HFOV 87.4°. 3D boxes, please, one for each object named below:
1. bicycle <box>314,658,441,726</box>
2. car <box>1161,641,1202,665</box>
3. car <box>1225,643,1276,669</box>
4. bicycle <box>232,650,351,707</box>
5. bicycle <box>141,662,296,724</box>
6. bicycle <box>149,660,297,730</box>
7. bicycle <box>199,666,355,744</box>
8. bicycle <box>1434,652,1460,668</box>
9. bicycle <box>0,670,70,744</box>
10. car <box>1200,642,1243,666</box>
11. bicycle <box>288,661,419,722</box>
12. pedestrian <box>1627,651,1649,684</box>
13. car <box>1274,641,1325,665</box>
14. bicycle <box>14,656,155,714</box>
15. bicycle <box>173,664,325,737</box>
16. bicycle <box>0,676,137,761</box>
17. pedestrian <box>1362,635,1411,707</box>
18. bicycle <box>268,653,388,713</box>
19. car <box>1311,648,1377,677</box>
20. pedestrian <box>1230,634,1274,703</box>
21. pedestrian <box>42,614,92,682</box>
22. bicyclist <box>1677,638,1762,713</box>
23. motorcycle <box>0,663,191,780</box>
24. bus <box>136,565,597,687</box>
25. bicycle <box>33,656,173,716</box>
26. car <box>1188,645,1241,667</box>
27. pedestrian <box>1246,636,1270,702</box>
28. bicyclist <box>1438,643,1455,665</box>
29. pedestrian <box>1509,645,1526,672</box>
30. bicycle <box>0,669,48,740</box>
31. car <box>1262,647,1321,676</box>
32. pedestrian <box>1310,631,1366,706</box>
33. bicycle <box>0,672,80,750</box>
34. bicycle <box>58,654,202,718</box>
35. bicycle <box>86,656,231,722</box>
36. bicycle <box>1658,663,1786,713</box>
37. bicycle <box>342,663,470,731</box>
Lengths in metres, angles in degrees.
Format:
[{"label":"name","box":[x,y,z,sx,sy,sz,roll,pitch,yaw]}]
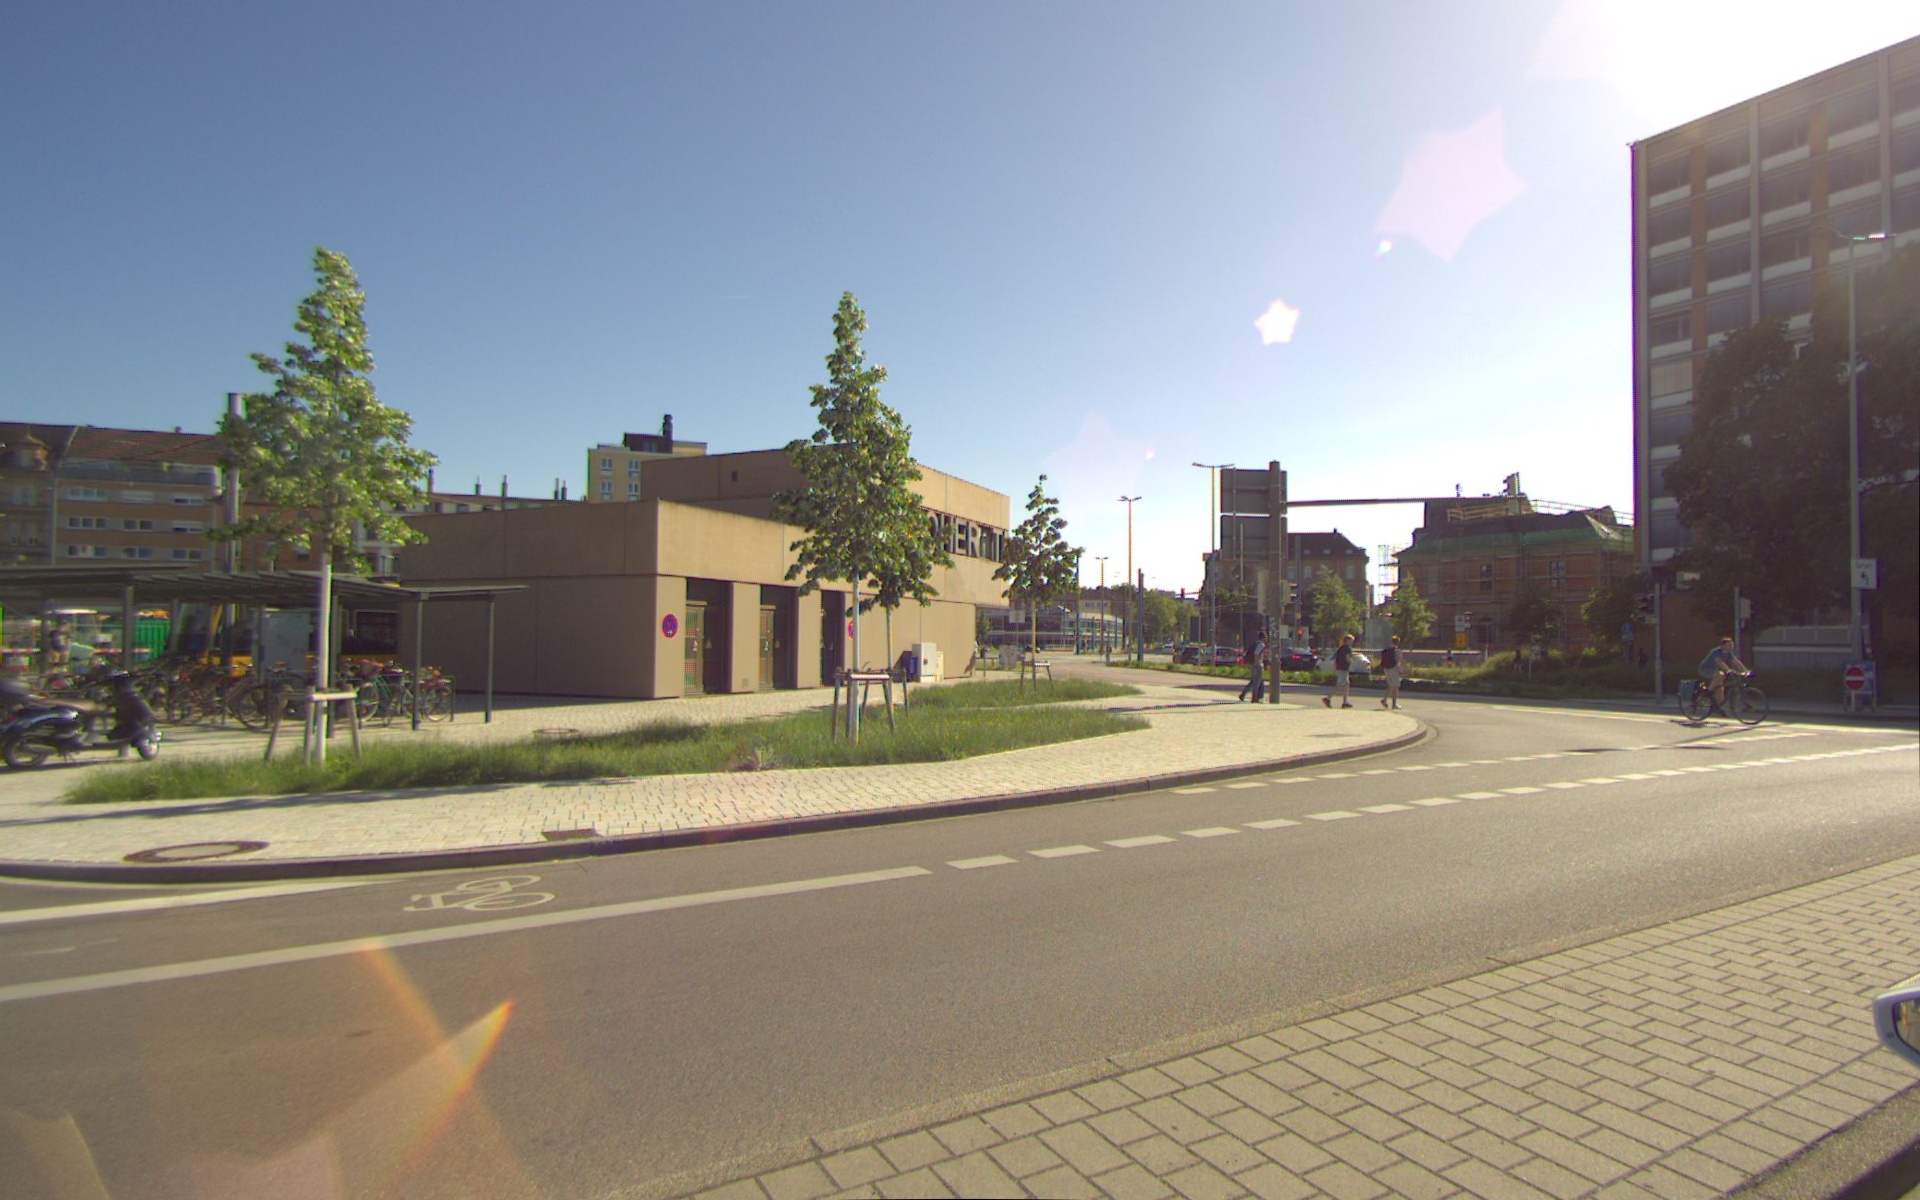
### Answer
[{"label":"bicycle","box":[-10.798,1.682,18.695,0.594,1.093,2.053,2,0,25]},{"label":"car","box":[16.520,3.937,75.121,1.809,1.653,4.386,1,-2,-4]},{"label":"car","box":[20.038,3.838,69.429,1.810,1.653,4.382,1,-2,-8]},{"label":"bicycle","box":[-13.918,1.614,20.989,0.524,1.051,2.070,2,0,26]},{"label":"bicycle","box":[-13.592,1.681,18.512,0.673,0.956,2.233,2,0,25]},{"label":"bicycle","box":[-12.899,1.629,17.653,0.524,1.051,2.070,2,0,26]},{"label":"bicycle","box":[-10.904,1.649,16.130,0.524,1.051,2.070,2,0,26]},{"label":"bicycle","box":[32.238,3.960,66.550,0.587,0.976,2.082,1,-2,-5]},{"label":"bicycle","box":[-13.697,1.530,14.170,0.399,0.985,1.683,2,0,22]},{"label":"car","box":[19.617,4.033,75.502,1.809,1.653,4.386,1,-2,-4]},{"label":"bicycle","box":[-11.763,1.747,19.568,0.679,1.011,2.140,2,0,26]},{"label":"pedestrian","box":[34.544,3.434,51.157,0.587,1.624,0.739,1,-2,-7]},{"label":"car","box":[25.606,3.990,75.856,1.809,1.653,4.836,1,-2,-6]},{"label":"bicycle","box":[-17.773,1.696,20.453,0.524,1.051,2.070,5,0,26]},{"label":"bicycle","box":[-11.926,1.655,16.937,0.524,1.051,2.070,2,0,26]},{"label":"bicycle","box":[-12.203,1.573,13.574,0.399,0.985,1.683,2,0,22]},{"label":"pedestrian","box":[10.381,1.737,24.470,0.776,1.711,0.793,2,-5,-14]},{"label":"bicycle","box":[-12.743,1.646,20.324,0.524,1.051,2.070,2,0,26]},{"label":"car","box":[21.332,3.445,55.950,1.711,1.454,3.843,1,-2,-10]},{"label":"pedestrian","box":[7.399,1.730,25.453,0.889,1.711,0.839,-1,-5,30]},{"label":"pedestrian","box":[-26.106,1.387,29.376,0.755,1.942,0.803,0,-2,23]},{"label":"bicyclist","box":[15.011,1.487,19.875,0.676,1.440,1.124,1,-4,-18]},{"label":"motorcycle","box":[-10.850,1.446,12.473,0.558,1.235,2.087,0,-1,21]},{"label":"bus","box":[-17.914,0.912,32.483,2.810,3.112,13.620,0,-2,25]},{"label":"bicycle","box":[-16.884,1.676,19.845,0.524,1.051,2.070,-2,-2,26]},{"label":"car","box":[17.267,3.763,68.322,1.810,1.406,4.895,1,-2,-8]},{"label":"pedestrian","box":[8.011,1.850,27.044,0.585,1.751,0.580,0,-2,14]},{"label":"bicyclist","box":[32.242,3.552,66.561,0.587,1.448,0.939,1,-2,-5]},{"label":"pedestrian","box":[33.622,3.546,60.579,0.549,1.592,0.862,1,-2,-6]},{"label":"bicycle","box":[-14.201,1.525,14.372,0.399,0.985,1.683,2,0,22]},{"label":"car","box":[20.700,3.826,62.893,1.810,1.653,4.382,1,-2,-8]},{"label":"pedestrian","box":[9.403,1.706,24.990,1.084,1.822,0.704,2,-5,-13]},{"label":"bicycle","box":[-13.231,1.543,13.809,0.399,0.985,1.683,2,0,22]},{"label":"bicycle","box":[-15.903,1.622,19.316,0.524,1.051,2.070,5,1,26]},{"label":"bicycle","box":[-15.018,1.639,18.902,0.524,1.051,2.070,5,1,26]},{"label":"bicycle","box":[15.006,1.718,19.859,0.676,0.930,1.984,1,-4,-17]},{"label":"bicycle","box":[-9.968,1.720,18.158,0.524,1.051,2.070,2,0,26]}]
